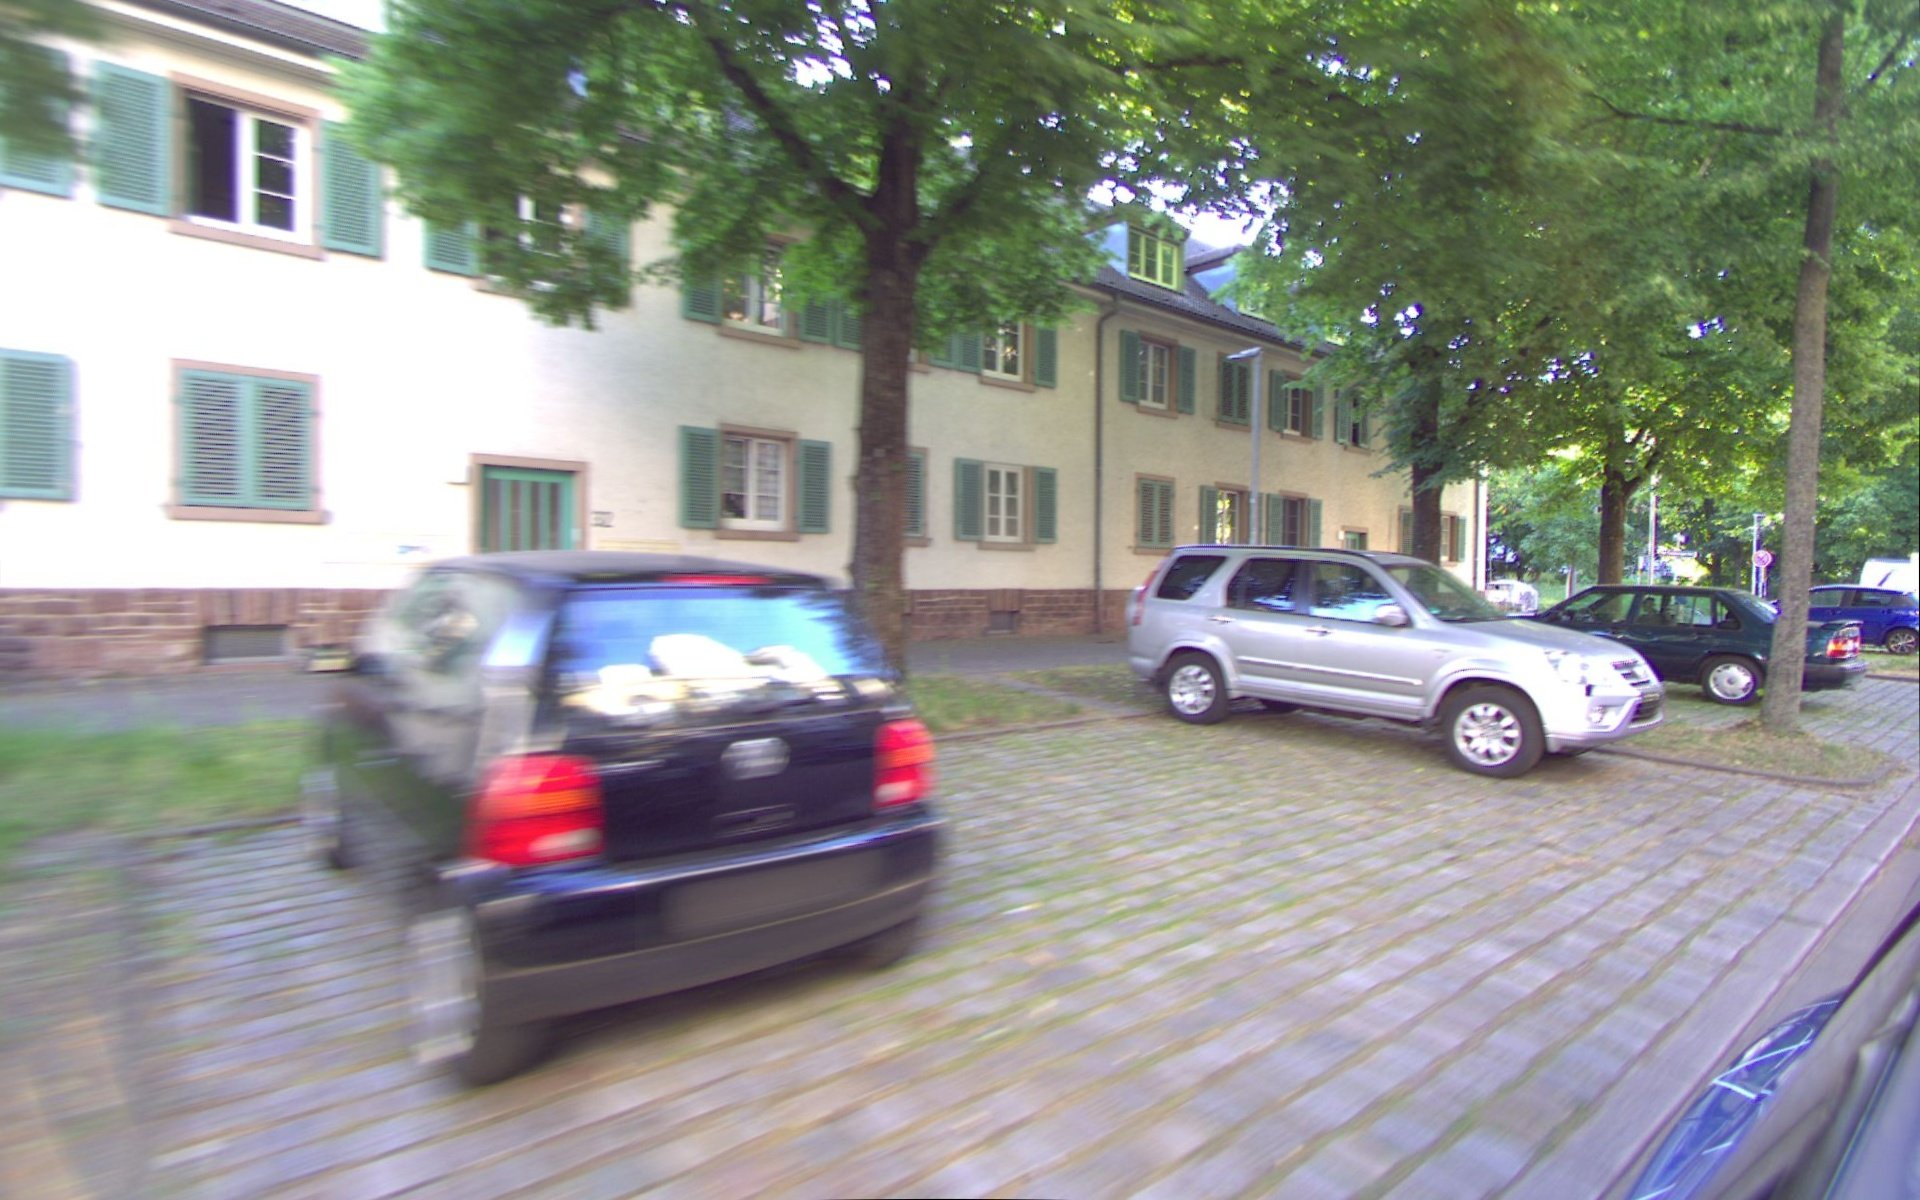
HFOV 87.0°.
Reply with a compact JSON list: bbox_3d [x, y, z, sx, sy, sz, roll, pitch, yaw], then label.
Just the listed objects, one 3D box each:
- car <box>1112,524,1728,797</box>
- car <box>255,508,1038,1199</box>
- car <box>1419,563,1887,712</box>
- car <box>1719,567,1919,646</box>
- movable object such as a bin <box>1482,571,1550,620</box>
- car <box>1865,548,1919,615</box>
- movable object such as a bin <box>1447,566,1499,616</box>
[{"bbox_3d":[3.735,0.277,8.926,1.909,1.690,4.485,1,4,-42],"label":"car"},{"bbox_3d":[-1.545,0.432,4.053,1.721,1.490,3.508,-2,4,-41],"label":"car"},{"bbox_3d":[9.124,0.334,13.739,1.909,1.459,4.903,-2,5,-42],"label":"car"},{"bbox_3d":[20.550,0.092,23.785,1.966,1.574,3.994,-2,5,-42],"label":"car"},{"bbox_3d":[20.298,-0.193,36.947,1.561,1.677,1.641,-1,2,-33],"label":"movable object such as a bin"},{"bbox_3d":[39.689,-0.716,40.007,2.201,2.646,5.623,-2,3,-41],"label":"car"},{"bbox_3d":[19.366,-0.356,38.227,1.128,1.850,1.387,-1,2,-33],"label":"movable object such as a bin"}]
